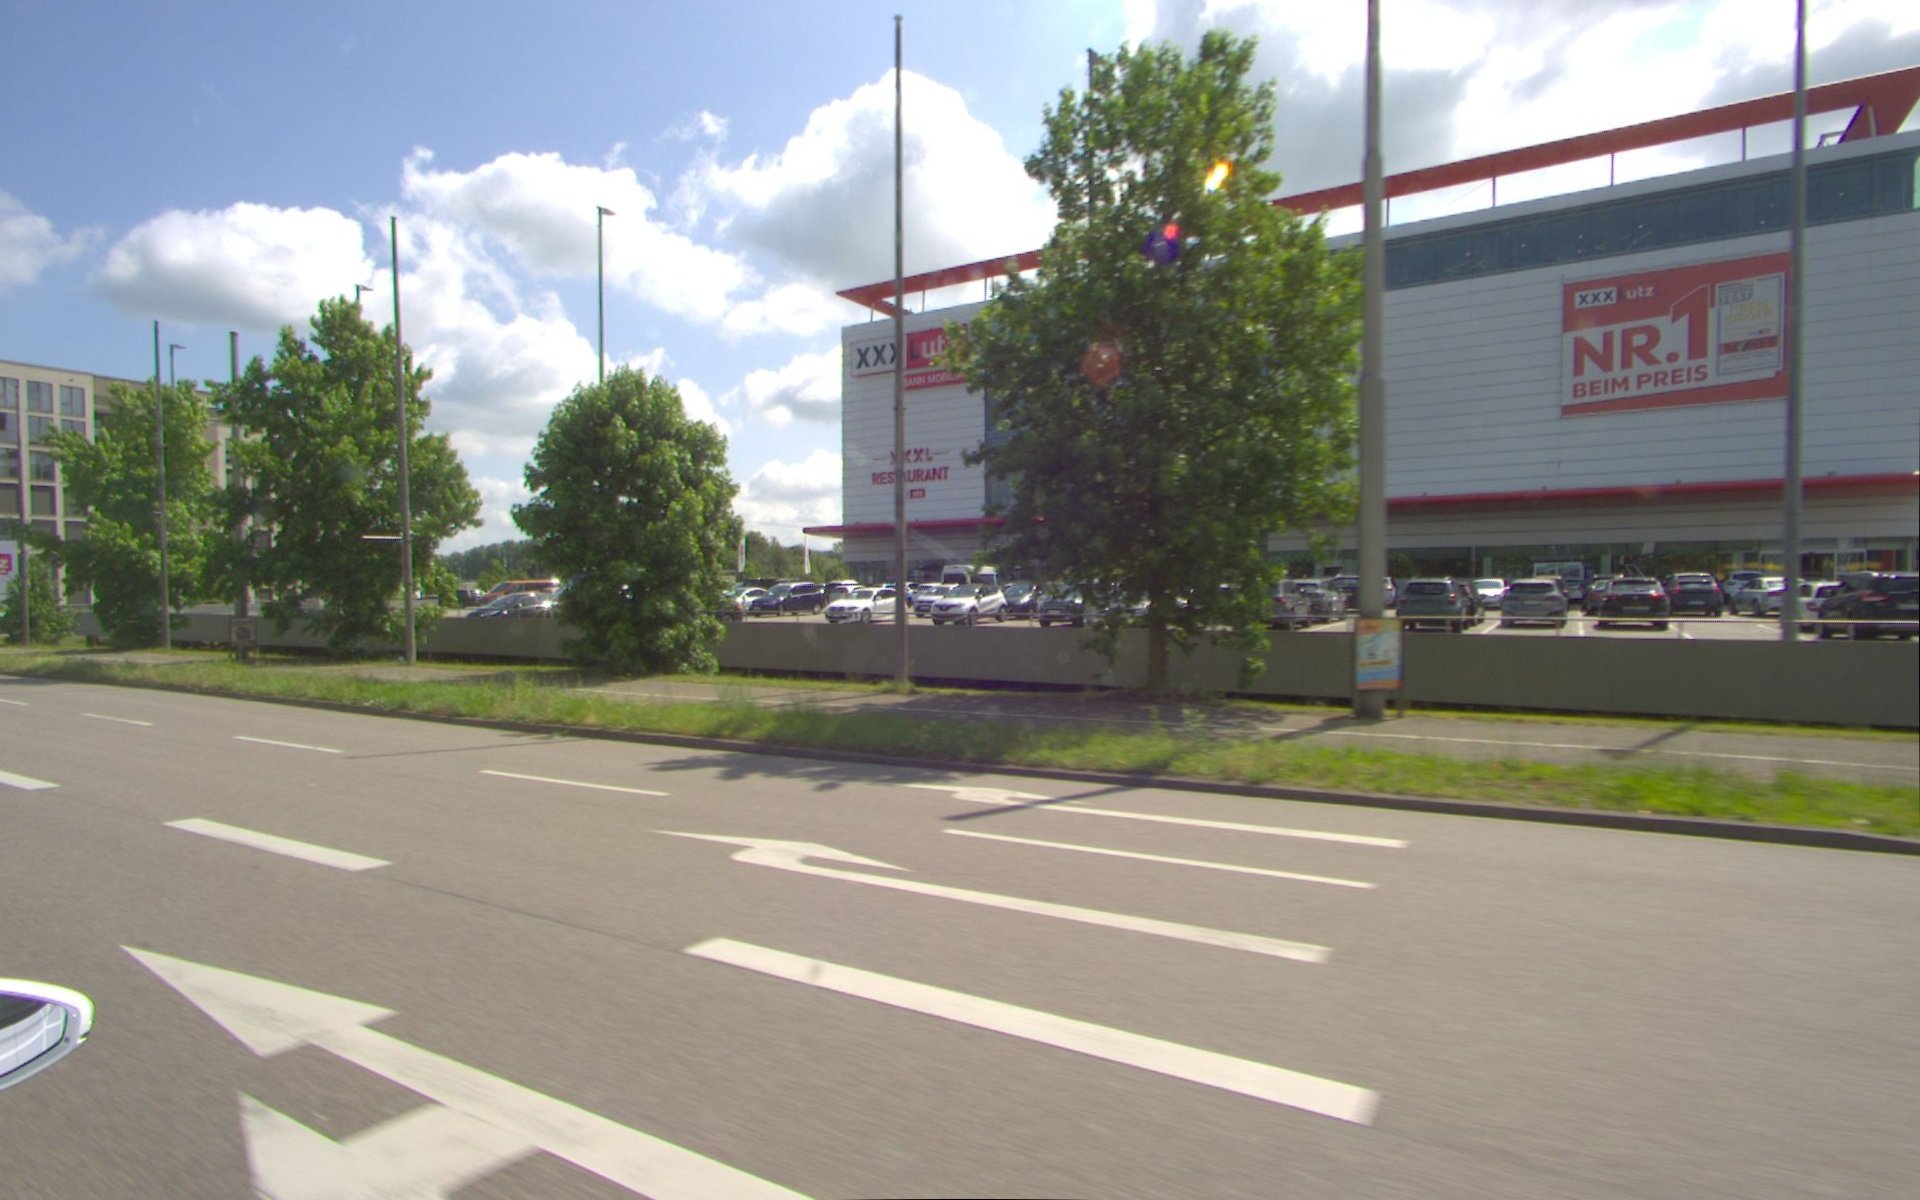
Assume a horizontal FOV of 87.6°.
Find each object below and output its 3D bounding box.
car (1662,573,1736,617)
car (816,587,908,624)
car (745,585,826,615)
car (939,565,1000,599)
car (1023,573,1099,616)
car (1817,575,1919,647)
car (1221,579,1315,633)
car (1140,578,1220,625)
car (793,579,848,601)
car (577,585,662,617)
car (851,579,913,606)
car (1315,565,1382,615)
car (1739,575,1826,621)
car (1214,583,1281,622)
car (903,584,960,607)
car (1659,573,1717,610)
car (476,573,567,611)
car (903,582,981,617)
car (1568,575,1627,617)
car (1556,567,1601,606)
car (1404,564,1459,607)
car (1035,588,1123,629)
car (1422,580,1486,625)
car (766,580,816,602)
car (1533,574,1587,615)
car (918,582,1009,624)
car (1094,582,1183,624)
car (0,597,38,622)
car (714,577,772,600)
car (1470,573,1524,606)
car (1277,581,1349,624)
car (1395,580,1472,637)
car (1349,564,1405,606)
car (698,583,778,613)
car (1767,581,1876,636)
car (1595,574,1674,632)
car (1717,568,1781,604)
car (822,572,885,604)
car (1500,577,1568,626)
[{"bbox_3d":[28.619,-0.241,38.888,1.825,1.609,4.217,1,2,30],"label":"car"},{"bbox_3d":[-4.077,0.202,42.346,1.864,1.408,4.177,1,2,29],"label":"car"},{"bbox_3d":[-8.934,-0.029,51.619,1.865,1.454,4.174,1,2,31],"label":"car"},{"bbox_3d":[0.626,-1.094,61.884,1.972,1.977,3.977,1,0,33],"label":"car"},{"bbox_3d":[4.392,-0.250,42.963,1.766,1.751,3.981,1,1,30],"label":"car"},{"bbox_3d":[22.387,0.213,24.181,1.715,1.552,4.047,0,2,28],"label":"car"},{"bbox_3d":[10.124,0.139,32.695,2.000,1.596,4.350,1,2,31],"label":"car"},{"bbox_3d":[8.846,0.045,40.011,1.970,1.773,3.980,1,0,31],"label":"car"},{"bbox_3d":[-9.577,-0.672,69.073,1.612,1.462,3.888,1,0,32],"label":"car"},{"bbox_3d":[-17.524,0.063,51.698,1.721,1.534,3.981,-1,-1,30],"label":"car"},{"bbox_3d":[-4.569,-0.435,59.223,1.718,1.536,3.787,1,0,32],"label":"car"},{"bbox_3d":[16.909,-0.402,43.457,1.971,2.040,3.979,1,0,32],"label":"car"},{"bbox_3d":[30.554,-0.118,37.331,1.679,1.532,4.146,1,3,28],"label":"car"},{"bbox_3d":[11.076,0.095,38.407,1.591,1.406,3.760,0,0,31],"label":"car"},{"bbox_3d":[-1.780,-0.292,64.103,1.883,1.453,3.787,1,0,32],"label":"car"},{"bbox_3d":[32.069,-0.352,44.198,1.681,1.531,4.332,1,0,31],"label":"car"},{"bbox_3d":[-27.799,-0.456,63.660,1.958,2.224,5.152,0,-1,31],"label":"car"},{"bbox_3d":[-0.799,-0.024,47.769,1.970,1.592,3.982,1,0,30],"label":"car"},{"bbox_3d":[25.966,-0.215,40.885,1.825,1.609,4.217,1,2,30],"label":"car"},{"bbox_3d":[33.569,-0.702,54.440,1.970,2.040,3.981,1,0,31],"label":"car"},{"bbox_3d":[23.379,-0.676,49.577,1.971,2.040,3.979,1,0,32],"label":"car"},{"bbox_3d":[4.479,0.280,37.245,1.663,1.343,4.173,0,2,32],"label":"car"},{"bbox_3d":[17.350,0.052,35.083,1.702,1.484,3.979,1,2,31],"label":"car"},{"bbox_3d":[-11.854,-0.649,70.423,1.562,1.484,3.518,1,0,32],"label":"car"},{"bbox_3d":[27.416,-0.266,45.675,1.971,1.773,3.977,1,1,33],"label":"car"},{"bbox_3d":[0.207,0.145,40.149,1.970,1.591,3.982,-1,0,30],"label":"car"},{"bbox_3d":[6.413,0.054,35.676,1.738,1.343,4.350,1,2,30],"label":"car"},{"bbox_3d":[-89.303,0.907,92.910,1.978,2.285,5.466,1,0,43],"label":"car"},{"bbox_3d":[-15.939,-0.827,73.783,1.972,1.564,3.978,1,0,33],"label":"car"},{"bbox_3d":[25.254,-0.479,47.037,1.878,1.483,3.978,1,0,33],"label":"car"},{"bbox_3d":[13.237,0.088,37.400,1.734,1.483,4.233,1,0,31],"label":"car"},{"bbox_3d":[14.528,0.201,30.609,1.738,1.574,4.174,1,2,30],"label":"car"},{"bbox_3d":[21.271,-0.728,50.996,1.971,2.040,3.979,1,0,32],"label":"car"},{"bbox_3d":[-11.605,-0.128,52.562,1.701,1.454,4.174,1,2,31],"label":"car"},{"bbox_3d":[25.043,0.203,29.259,1.733,1.447,4.280,2,2,32],"label":"car"},{"bbox_3d":[21.258,0.030,31.708,1.787,1.643,4.350,1,2,31],"label":"car"},{"bbox_3d":[39.743,-0.676,50.531,1.970,1.746,3.981,1,0,31],"label":"car"},{"bbox_3d":[-6.422,-0.720,60.643,1.750,1.862,3.875,1,0,33],"label":"car"},{"bbox_3d":[19.060,0.064,33.254,1.863,1.519,4.352,0,0,30],"label":"car"}]
